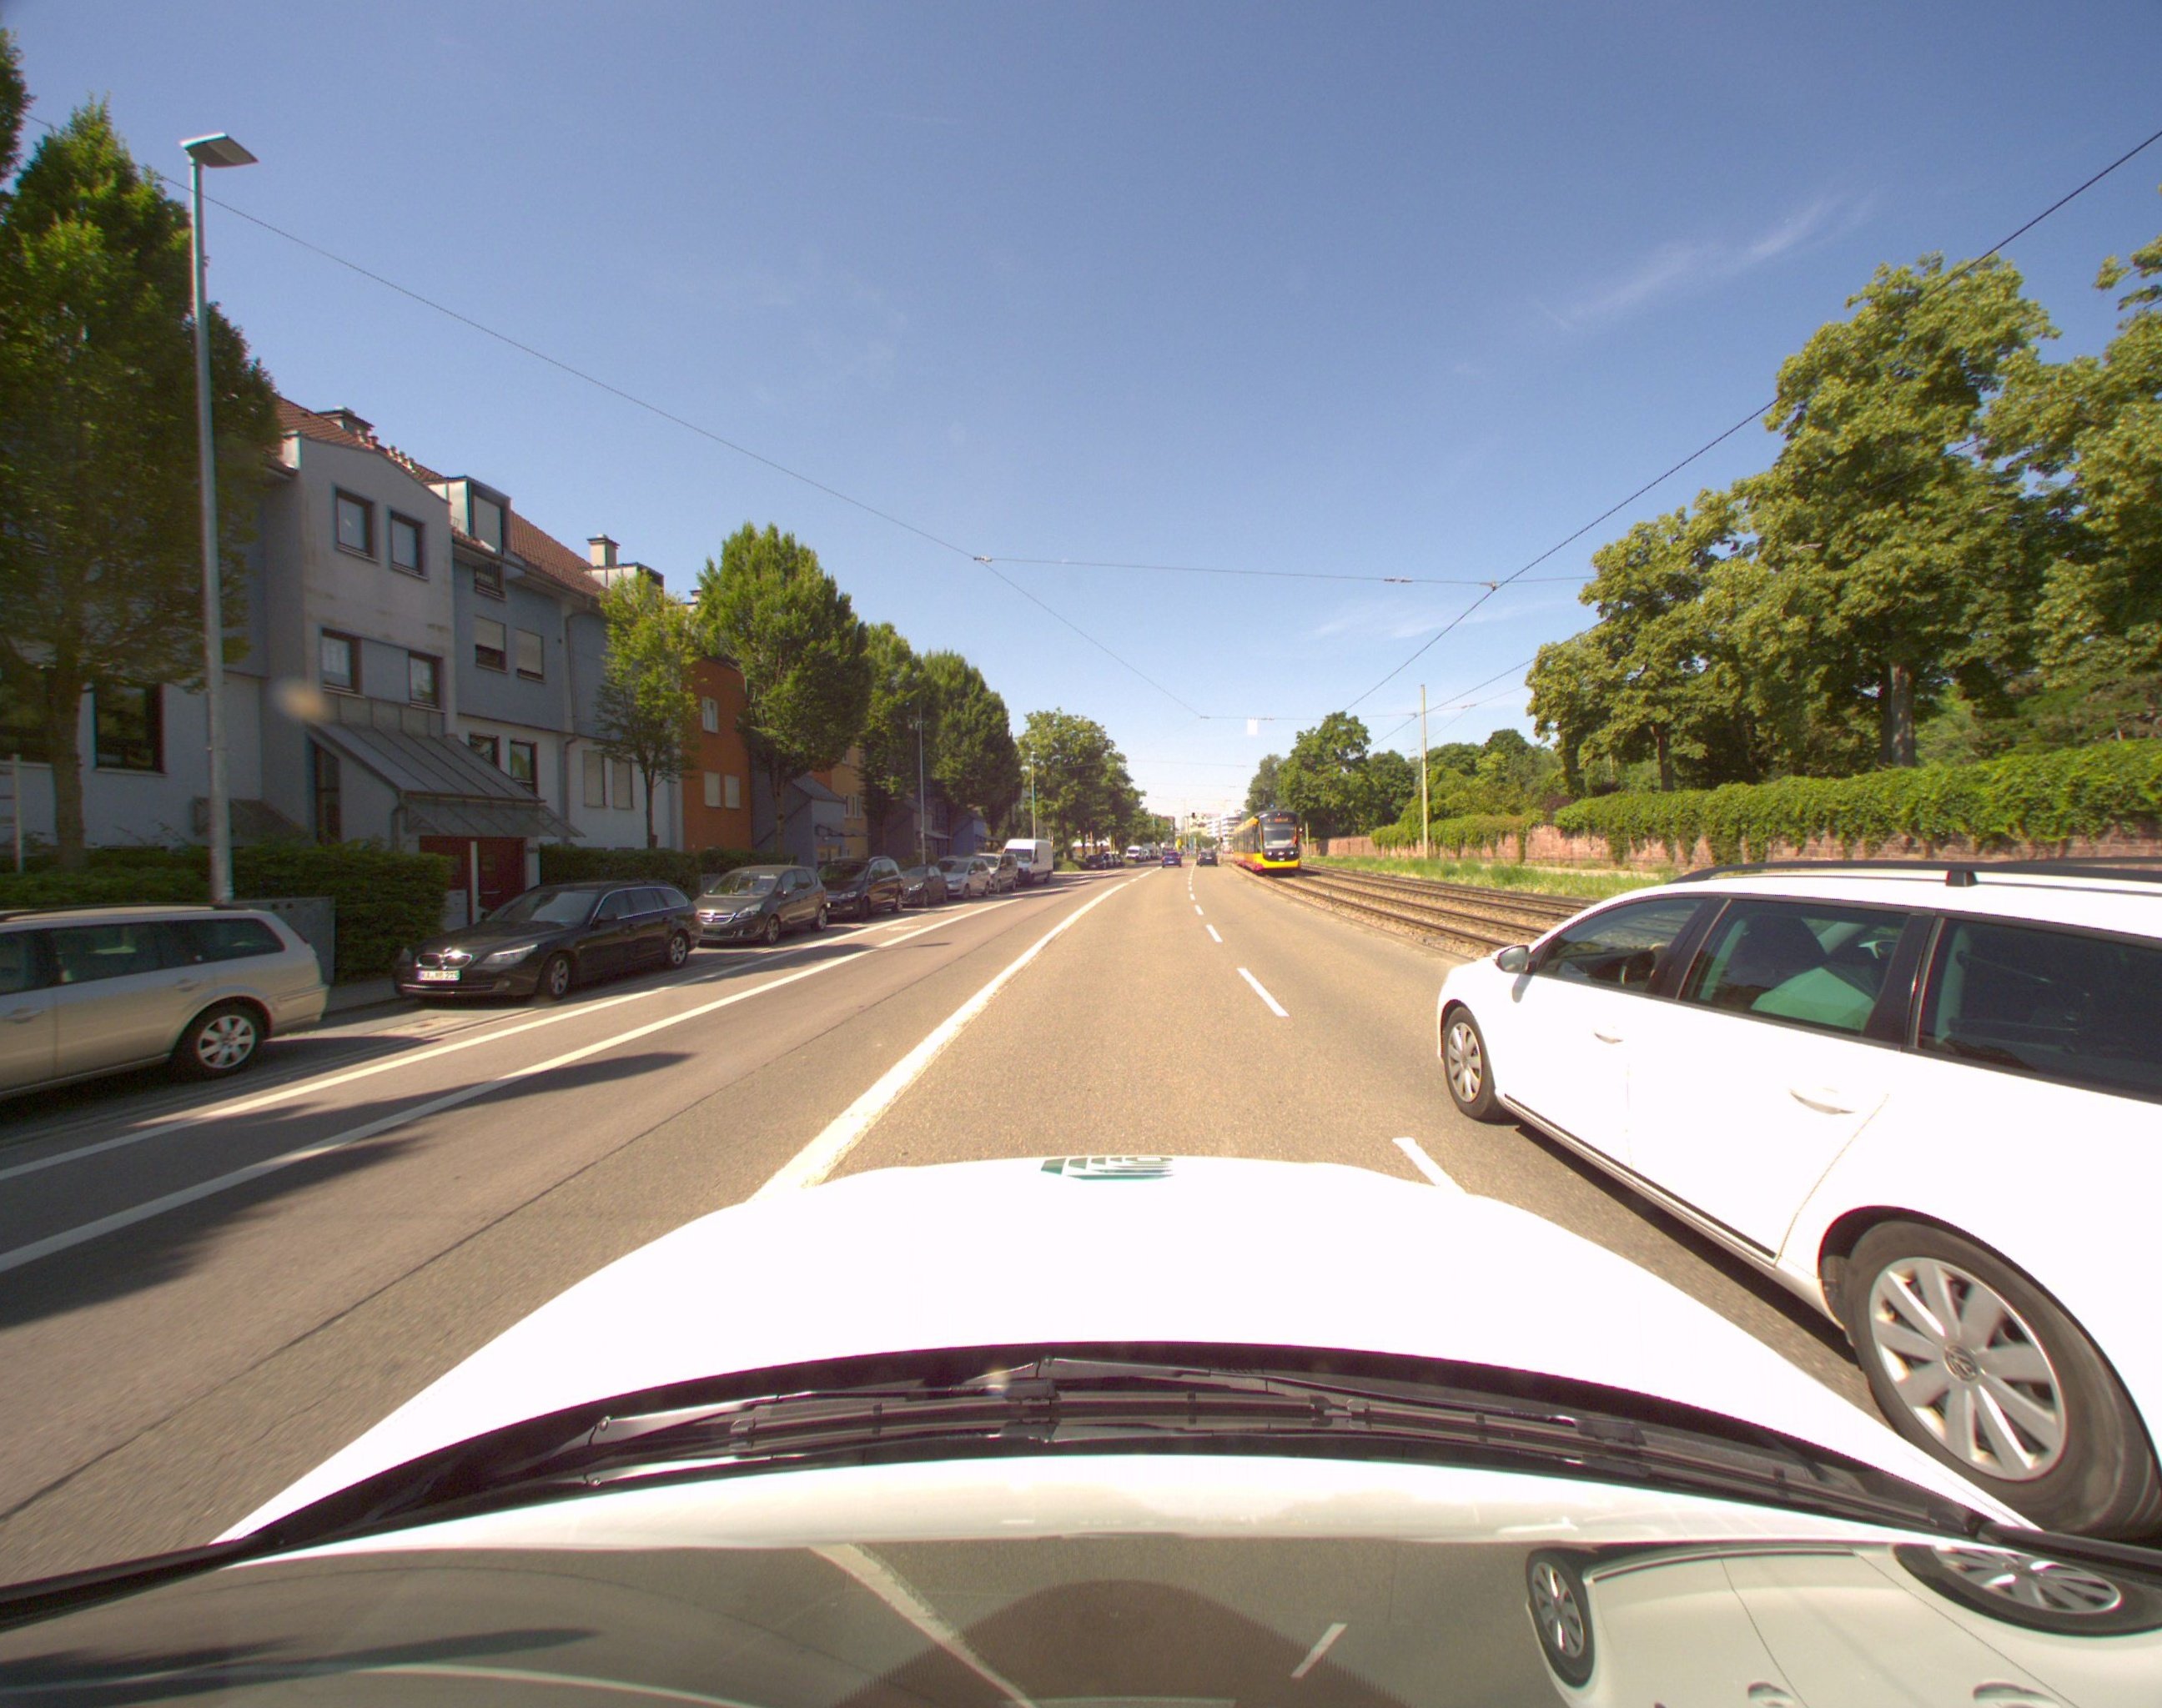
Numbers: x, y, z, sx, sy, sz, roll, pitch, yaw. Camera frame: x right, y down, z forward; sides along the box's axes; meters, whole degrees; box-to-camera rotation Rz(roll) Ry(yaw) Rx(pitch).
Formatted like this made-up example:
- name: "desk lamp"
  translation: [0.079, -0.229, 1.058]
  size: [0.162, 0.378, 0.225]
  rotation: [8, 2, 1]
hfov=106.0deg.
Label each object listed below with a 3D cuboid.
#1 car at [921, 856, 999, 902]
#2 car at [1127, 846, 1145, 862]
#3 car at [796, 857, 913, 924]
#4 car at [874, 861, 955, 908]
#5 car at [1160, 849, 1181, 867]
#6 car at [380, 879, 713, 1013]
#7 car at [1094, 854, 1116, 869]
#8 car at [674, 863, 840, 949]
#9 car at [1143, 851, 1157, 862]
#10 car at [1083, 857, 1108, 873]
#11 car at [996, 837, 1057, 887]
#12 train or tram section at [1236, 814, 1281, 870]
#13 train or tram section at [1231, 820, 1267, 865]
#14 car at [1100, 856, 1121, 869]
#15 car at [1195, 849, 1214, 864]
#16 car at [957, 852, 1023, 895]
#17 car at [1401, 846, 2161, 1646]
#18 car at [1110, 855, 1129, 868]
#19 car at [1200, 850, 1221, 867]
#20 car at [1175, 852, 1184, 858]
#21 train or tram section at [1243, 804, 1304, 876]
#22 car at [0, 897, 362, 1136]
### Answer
- name: "car"
  translation: [-4.979, 0.983, 34.281]
  size: [1.790, 1.724, 4.921]
  rotation: [1, 0, 9]
- name: "car"
  translation: [8.478, 0.002, 125.011]
  size: [1.867, 2.415, 5.132]
  rotation: [-2, 0, 12]
- name: "car"
  translation: [-6.428, 0.968, 23.711]
  size: [1.762, 1.723, 4.874]
  rotation: [0, 0, 3]
- name: "car"
  translation: [-5.865, 1.033, 29.175]
  size: [1.682, 1.474, 4.055]
  rotation: [1, 0, 6]
- name: "car"
  translation: [8.148, 0.382, 73.757]
  size: [1.790, 1.507, 4.009]
  rotation: [-1, 1, 8]
- name: "car"
  translation: [-7.541, 1.181, 12.220]
  size: [1.716, 1.474, 4.718]
  rotation: [0, 0, 3]
- name: "car"
  translation: [2.551, 0.812, 85.703]
  size: [1.688, 1.482, 4.013]
  rotation: [-2, 0, 12]
- name: "car"
  translation: [-7.028, 1.051, 18.190]
  size: [1.709, 1.625, 4.317]
  rotation: [0, 0, 4]
- name: "car"
  translation: [12.280, 0.351, 145.269]
  size: [1.814, 1.867, 4.740]
  rotation: [-2, 0, 12]
- name: "car"
  translation: [1.410, 1.045, 78.162]
  size: [1.688, 1.417, 4.013]
  rotation: [-2, 0, 12]
- name: "car"
  translation: [-3.092, 0.453, 48.238]
  size: [1.983, 2.714, 7.175]
  rotation: [1, 0, 9]
- name: "train or tram section"
  translation: [13.477, -0.843, 62.631]
  size: [2.496, 3.747, 13.344]
  rotation: [-2, 0, 9]
- name: "train or tram section"
  translation: [15.507, -0.987, 75.763]
  size: [2.496, 3.747, 13.344]
  rotation: [-2, 0, 9]
- name: "car"
  translation: [3.363, 0.915, 91.073]
  size: [1.688, 1.352, 4.013]
  rotation: [-2, 0, 12]
- name: "car"
  translation: [12.442, 0.220, 82.025]
  size: [1.790, 1.460, 4.009]
  rotation: [-1, 0, 8]
- name: "car"
  translation: [-4.353, 0.876, 40.050]
  size: [1.909, 1.948, 5.366]
  rotation: [1, 0, 8]
- name: "car"
  translation: [2.908, 0.720, 3.204]
  size: [1.684, 1.451, 4.461]
  rotation: [-2, 0, 2]
- name: "car"
  translation: [4.577, 0.892, 96.272]
  size: [1.688, 1.352, 4.013]
  rotation: [-2, 0, 12]
- name: "car"
  translation: [11.930, 0.371, 74.978]
  size: [1.790, 1.507, 4.009]
  rotation: [-1, 0, 8]
- name: "car"
  translation: [21.041, 0.163, 173.900]
  size: [1.689, 1.273, 4.011]
  rotation: [-2, 0, 10]
- name: "train or tram section"
  translation: [11.430, -0.766, 49.475]
  size: [2.496, 3.747, 13.344]
  rotation: [-2, 0, 9]
- name: "car"
  translation: [-8.177, 1.165, 5.763]
  size: [1.774, 1.483, 4.858]
  rotation: [0, 0, 1]
